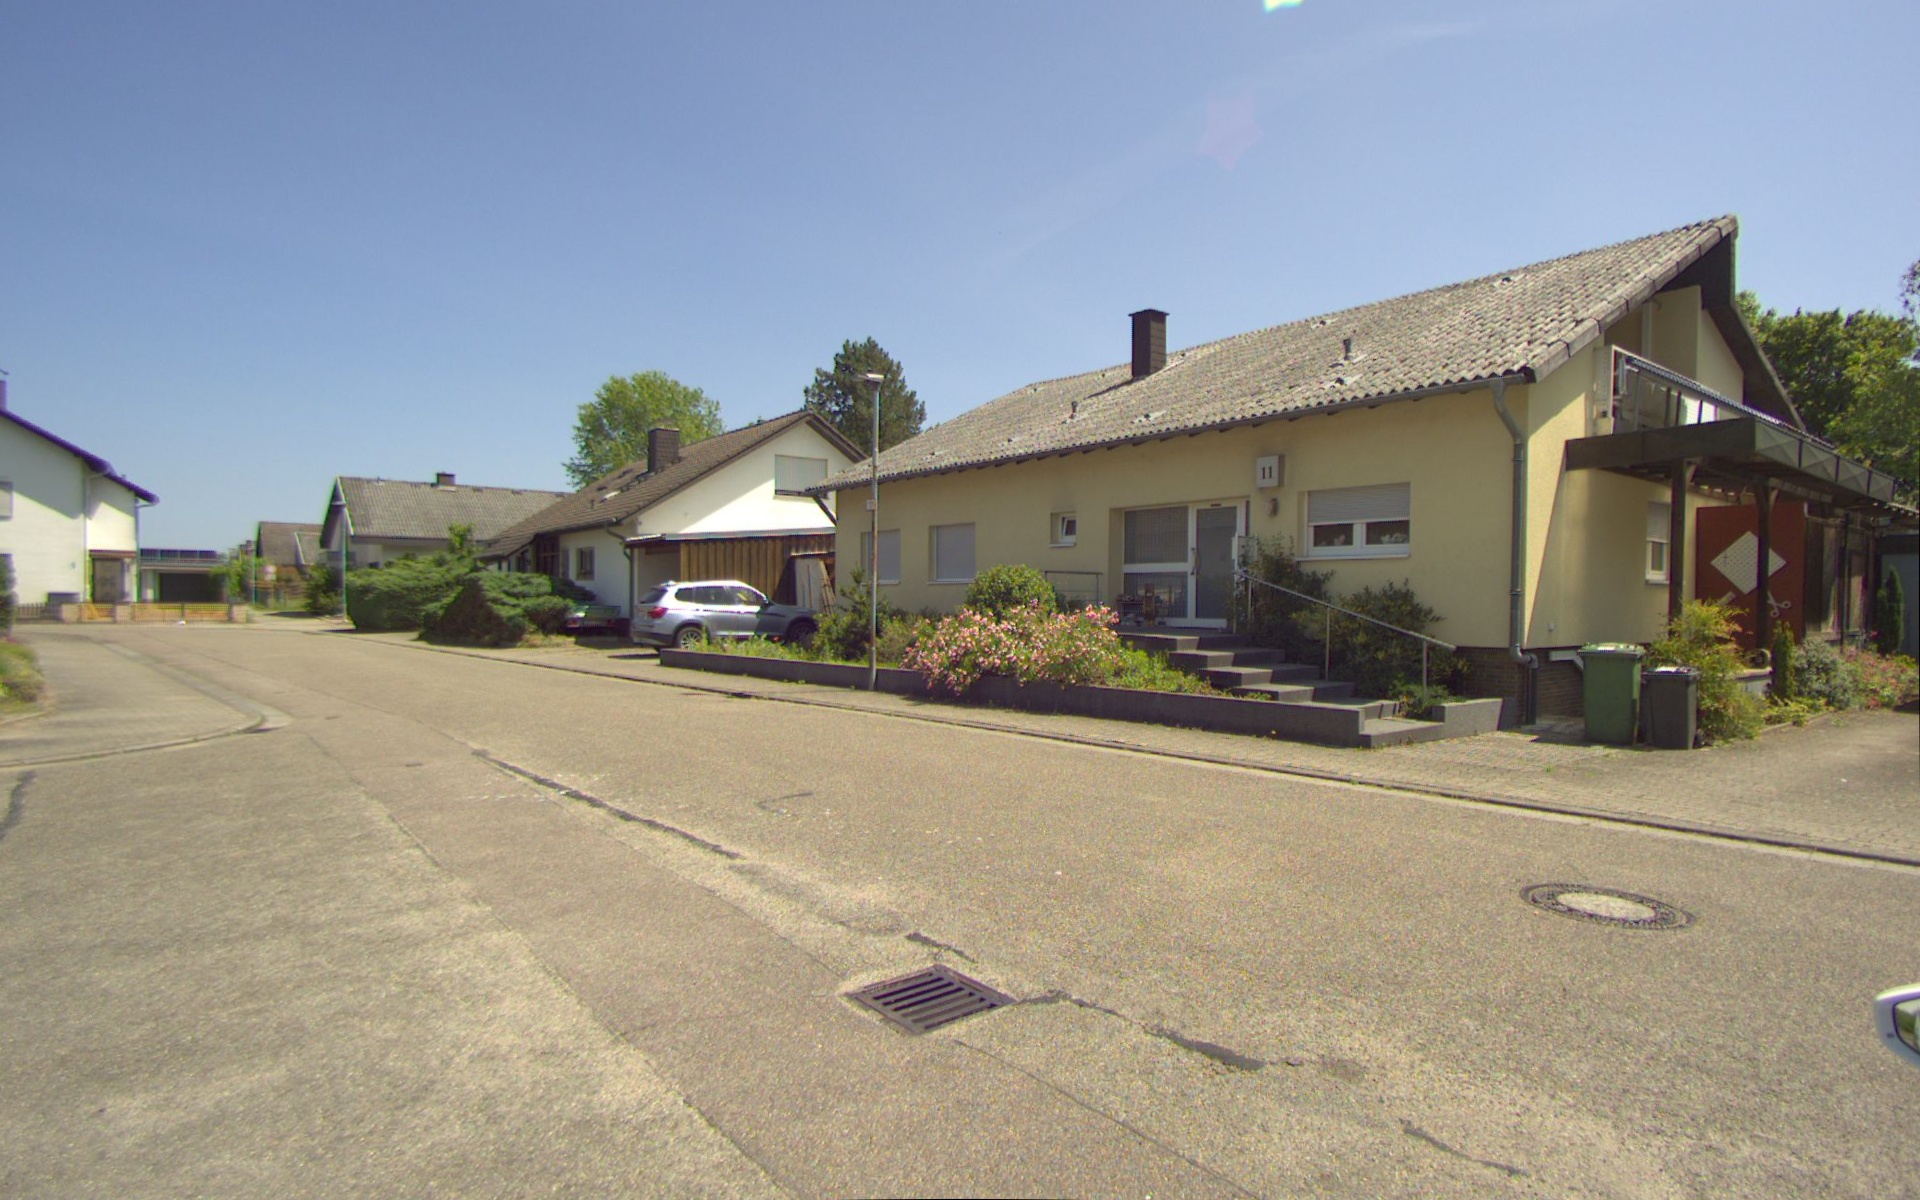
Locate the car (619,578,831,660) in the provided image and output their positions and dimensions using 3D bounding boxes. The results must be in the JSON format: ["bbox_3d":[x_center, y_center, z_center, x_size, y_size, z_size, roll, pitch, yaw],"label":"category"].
[{"bbox_3d":[-5.498,0.376,23.802,4.596,1.725,1.692,-2,2,-36],"label":"car"}]

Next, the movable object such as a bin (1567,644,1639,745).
[{"bbox_3d":[7.133,1.027,11.141,0.585,1.055,0.488,0,0,44],"label":"movable object such as a bin"}]

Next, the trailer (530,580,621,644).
[{"bbox_3d":[-11.118,0.296,28.945,1.578,1.695,3.260,-2,2,-37],"label":"trailer"}]

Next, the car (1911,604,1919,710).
[{"bbox_3d":[15.122,0.781,14.487,3.225,1.474,1.602,-1,2,-39],"label":"car"}]

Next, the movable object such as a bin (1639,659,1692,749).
[{"bbox_3d":[7.508,1.095,10.685,0.402,0.903,0.424,0,0,44],"label":"movable object such as a bin"}]
